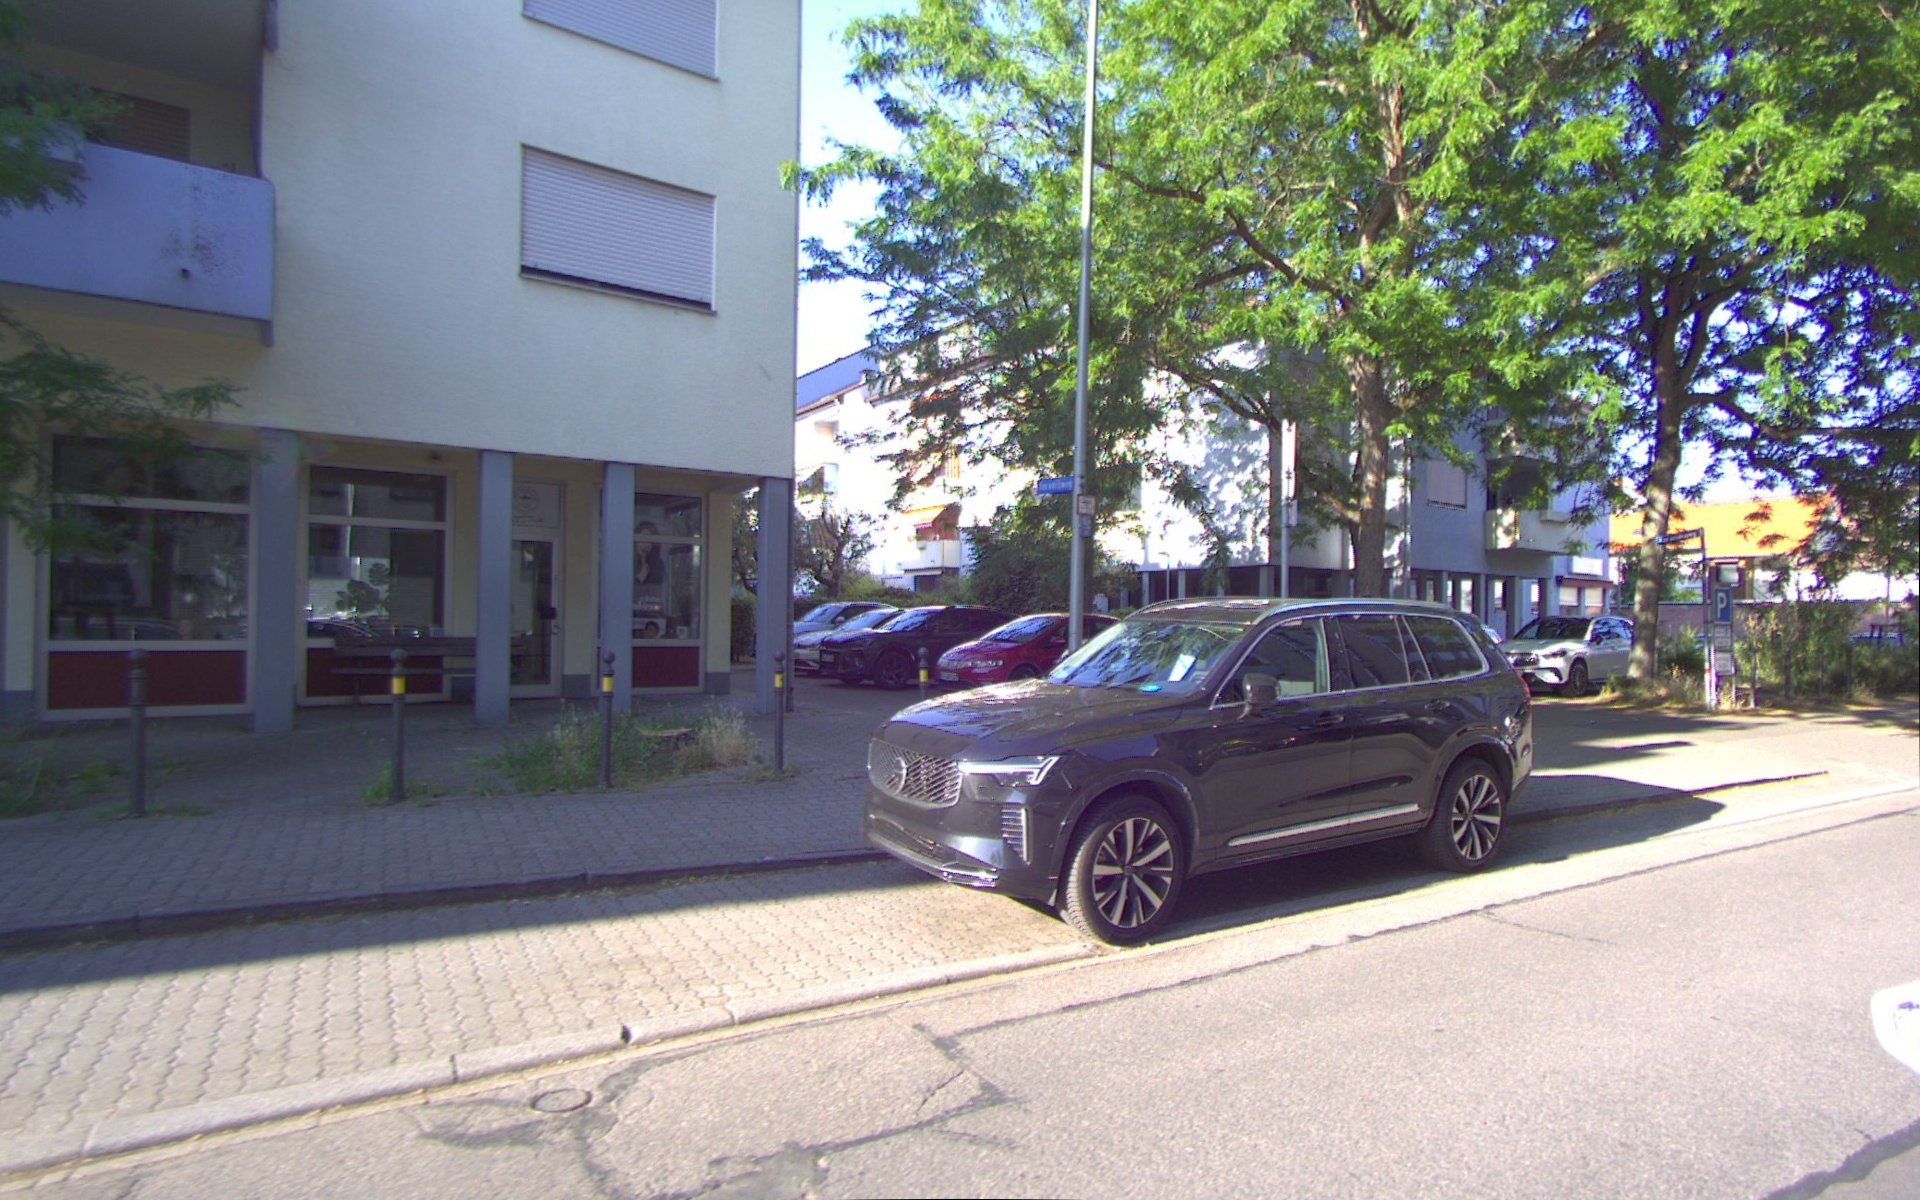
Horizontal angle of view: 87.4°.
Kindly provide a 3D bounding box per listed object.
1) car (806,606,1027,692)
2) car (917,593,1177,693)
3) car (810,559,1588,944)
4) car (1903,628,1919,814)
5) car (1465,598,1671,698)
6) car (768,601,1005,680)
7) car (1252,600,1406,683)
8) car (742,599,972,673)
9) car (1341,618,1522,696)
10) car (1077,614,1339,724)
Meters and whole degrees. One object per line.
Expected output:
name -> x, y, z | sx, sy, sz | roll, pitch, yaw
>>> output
car -> -0.793, 0.892, 18.693 | 3.766, 1.459, 1.678 | 2, -2, -29
car -> 1.532, 0.706, 16.707 | 4.391, 1.460, 1.564 | 2, -2, -37
car -> 1.750, 0.720, 6.627 | 5.042, 1.728, 1.922 | 2, 1, -31
car -> 9.772, 1.014, 8.469 | 3.957, 1.486, 1.796 | 2, -2, -33
car -> 12.940, 0.966, 21.287 | 4.853, 1.920, 1.832 | 1, -1, -33
car -> -1.555, 0.865, 21.911 | 4.781, 1.495, 1.981 | 2, 1, -33
car -> 9.703, 1.051, 26.272 | 4.290, 1.974, 2.000 | 2, -1, -41
car -> -2.394, 0.841, 23.968 | 5.127, 1.581, 1.929 | 1, 0, -31
car -> 10.771, 1.254, 22.907 | 3.767, 1.596, 2.063 | 2, -1, -33
car -> 3.603, 0.948, 14.472 | 3.594, 1.427, 1.514 | 2, -1, -29
